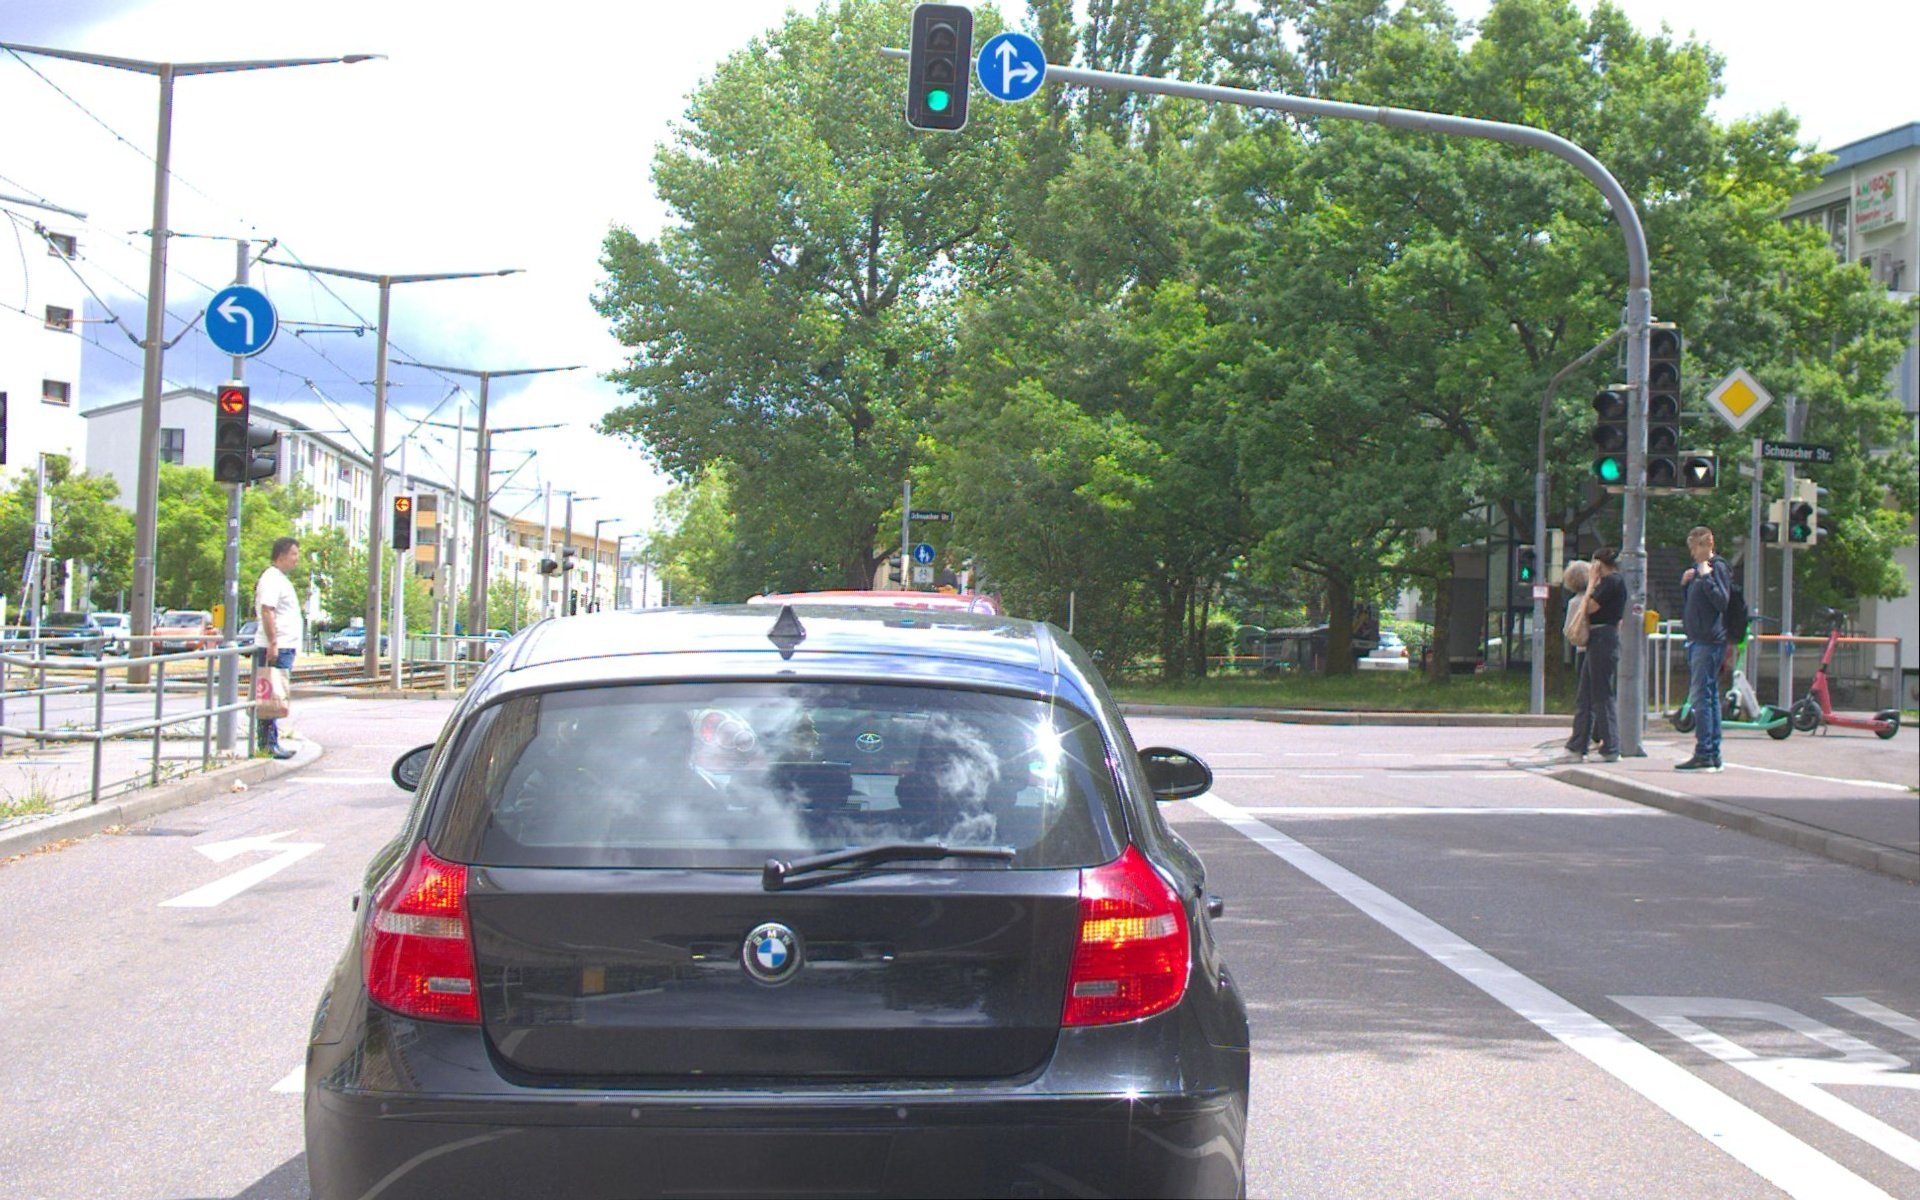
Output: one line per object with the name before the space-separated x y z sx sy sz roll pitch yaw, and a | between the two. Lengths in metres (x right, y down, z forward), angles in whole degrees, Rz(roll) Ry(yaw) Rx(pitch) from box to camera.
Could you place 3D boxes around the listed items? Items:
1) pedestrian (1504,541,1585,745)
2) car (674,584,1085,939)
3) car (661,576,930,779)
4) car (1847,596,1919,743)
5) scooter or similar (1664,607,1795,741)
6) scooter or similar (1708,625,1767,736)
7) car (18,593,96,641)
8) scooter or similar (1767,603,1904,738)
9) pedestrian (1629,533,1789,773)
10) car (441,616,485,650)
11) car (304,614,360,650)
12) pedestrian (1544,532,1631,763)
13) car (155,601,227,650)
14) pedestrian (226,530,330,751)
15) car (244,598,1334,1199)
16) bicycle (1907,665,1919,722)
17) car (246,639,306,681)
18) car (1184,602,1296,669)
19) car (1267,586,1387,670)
pedestrian | 5.124 0.369 30.148 0.636 1.760 0.518 1 0 6
car | -0.343 0.646 15.594 1.638 1.395 3.420 1 0 -1
car | -1.199 0.536 26.866 1.900 1.417 4.539 1 0 -1
car | 15.113 0.968 48.662 4.534 2.007 2.000 0 1 -7
scooter or similar | 7.283 0.696 32.566 1.110 1.231 0.539 1 0 2
scooter or similar | 7.825 0.799 34.583 0.548 1.060 1.261 1 0 13
car | -29.304 0.541 111.628 1.591 1.469 3.775 1 0 -2
scooter or similar | 8.541 0.682 33.558 1.150 1.268 0.555 2 0 2
pedestrian | 5.930 0.411 27.253 1.010 1.870 0.798 1 0 -7
car | -24.058 1.594 166.516 1.651 1.529 3.872 1 0 -2
car | -27.804 1.418 152.359 1.651 1.529 3.871 1 0 1
pedestrian | 5.165 0.386 28.330 0.636 1.870 0.518 1 0 6
car | -25.579 0.834 114.436 1.651 1.529 3.872 1 0 -2
pedestrian | -5.418 0.317 27.335 0.687 1.728 0.687 0 0 -1
car | -0.291 0.720 7.124 1.700 1.395 3.420 1 0 -1
bicycle | 10.936 1.039 37.006 0.532 0.608 1.591 2 0 -24
car | -26.419 2.302 132.850 1.651 1.529 3.872 1 0 -2
car | 7.342 0.907 90.367 1.862 1.656 4.001 1 0 -11
car | 8.450 0.619 79.510 1.726 1.865 4.001 1 0 -9
